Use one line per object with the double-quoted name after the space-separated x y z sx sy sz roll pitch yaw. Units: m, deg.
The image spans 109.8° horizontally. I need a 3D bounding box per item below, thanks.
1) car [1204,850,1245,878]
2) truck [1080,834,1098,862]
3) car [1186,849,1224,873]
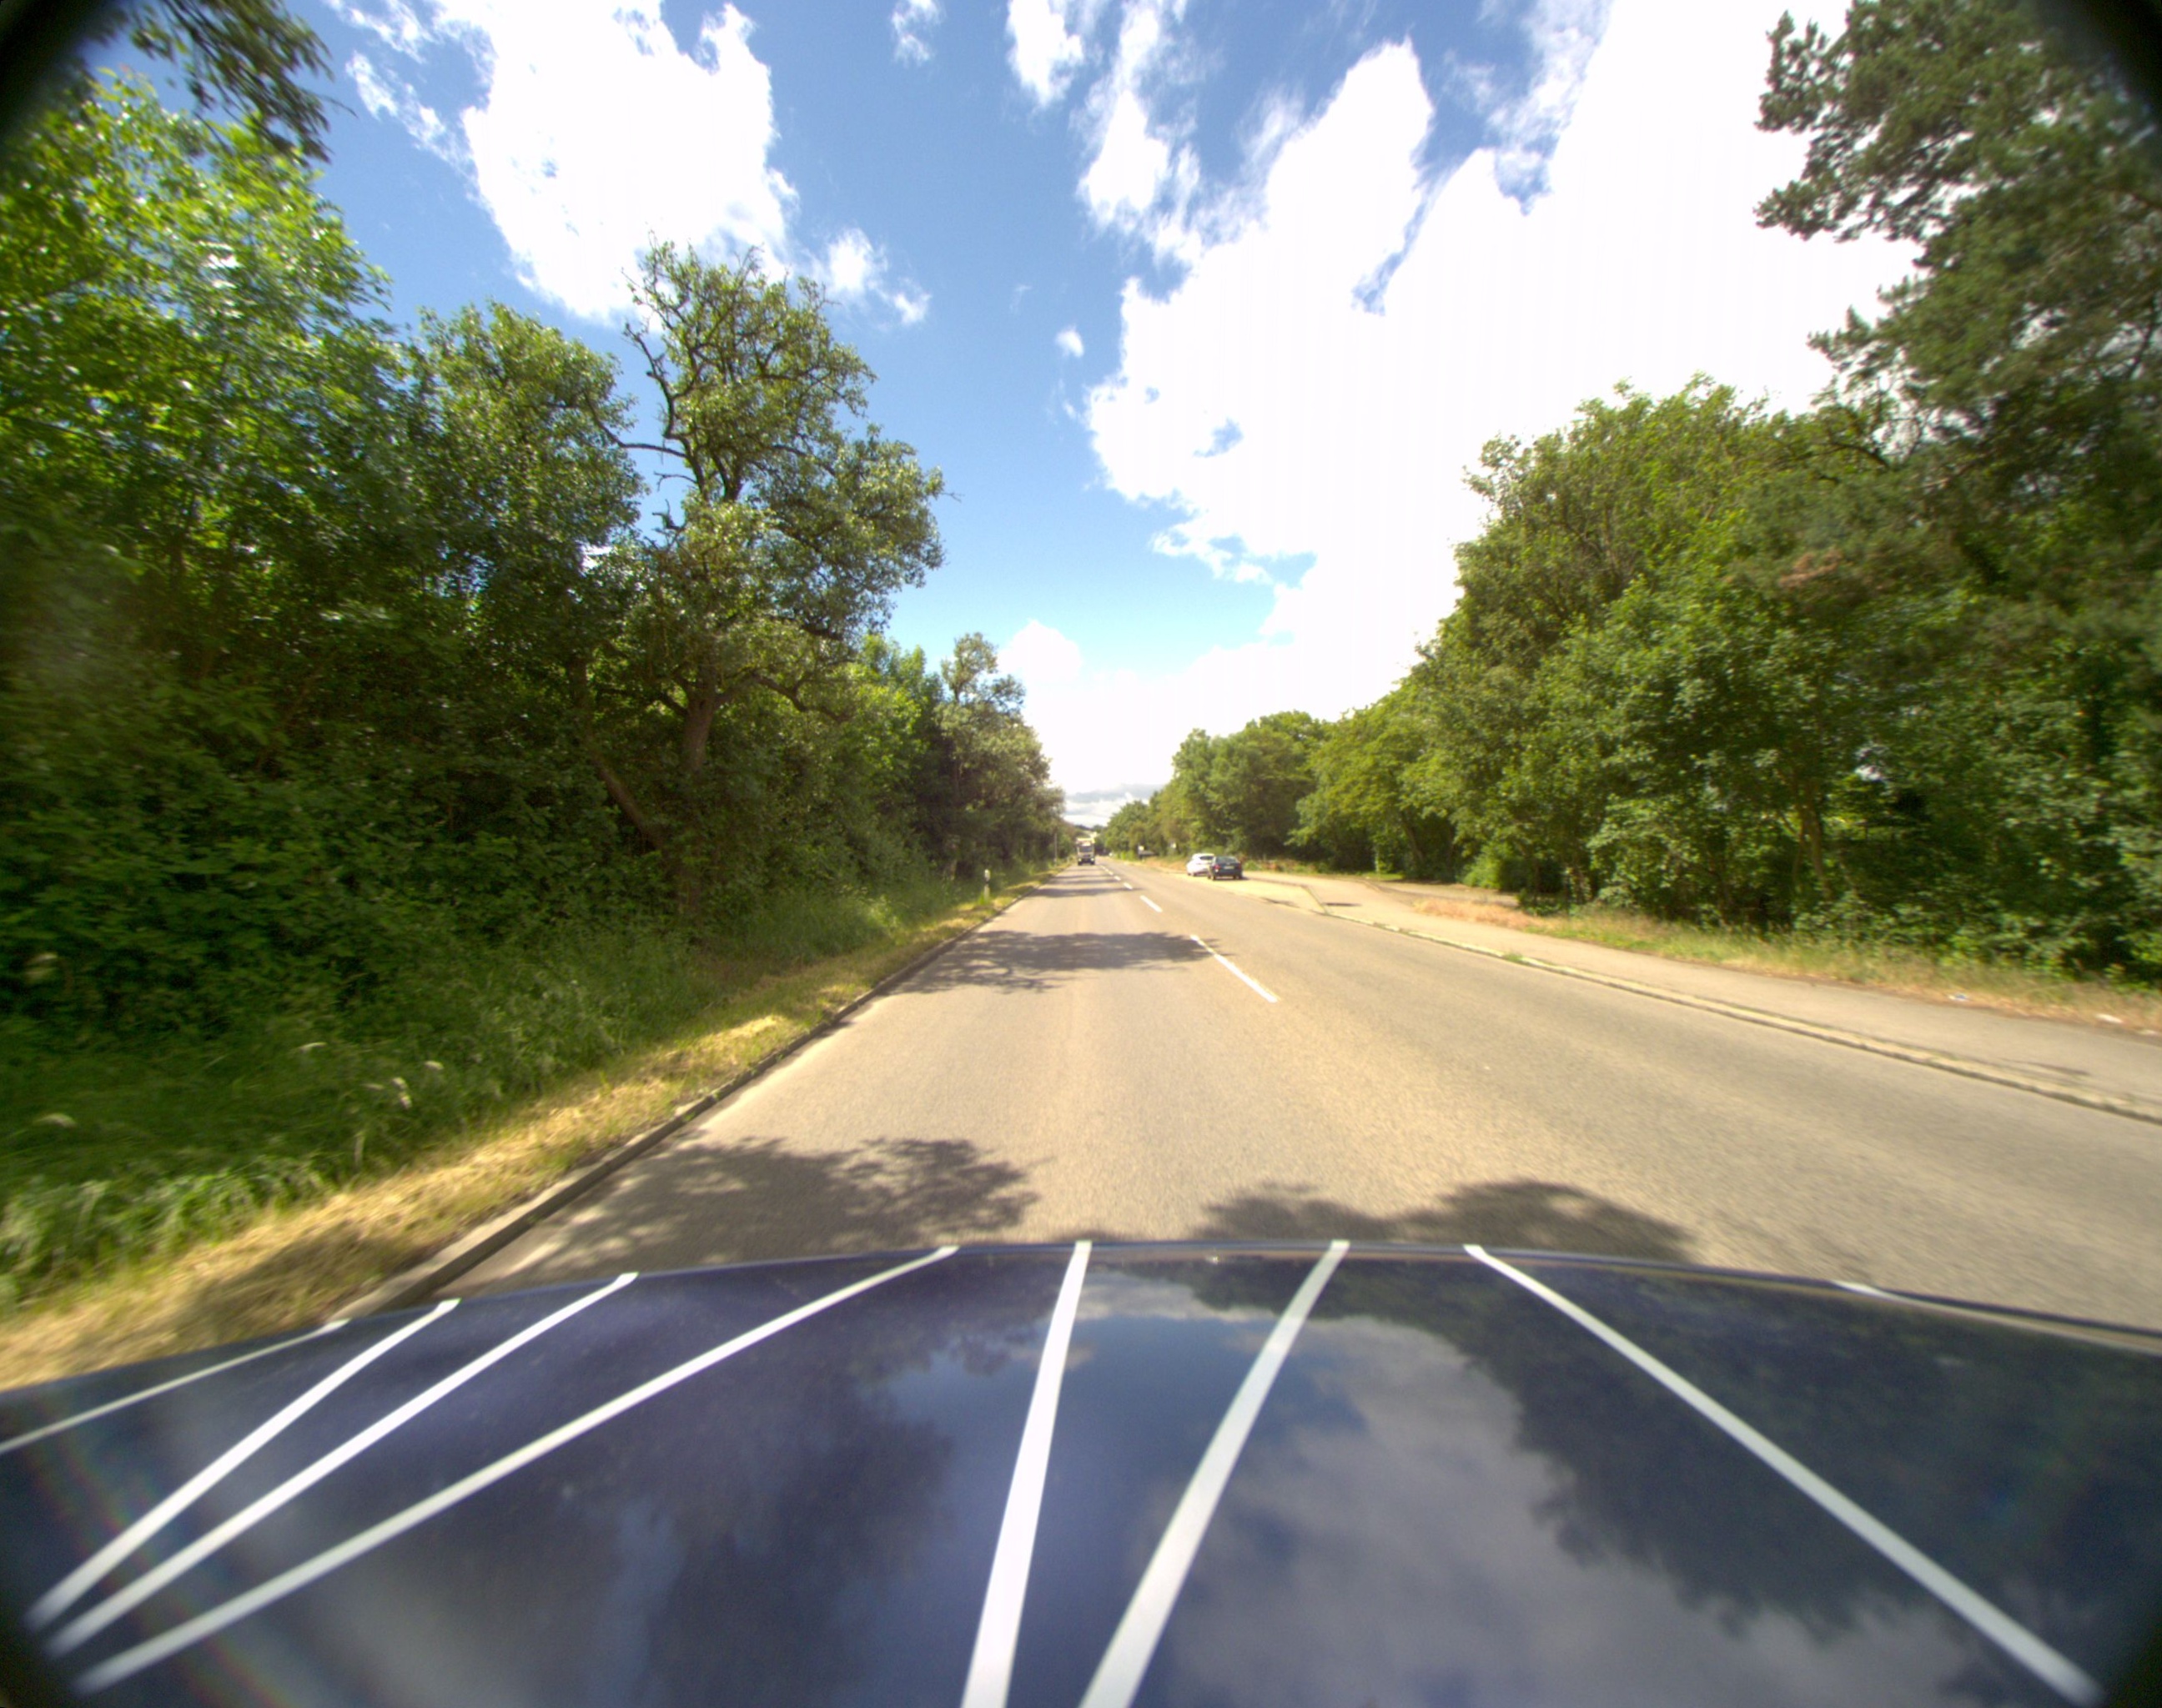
8.172 0.530 43.597 1.772 1.400 4.265 -3 1 4 "car"
1.096 -0.879 109.449 2.306 3.790 8.182 -3 1 0 "truck"
8.272 0.407 51.167 1.772 1.461 4.245 -3 1 -1 "car"
